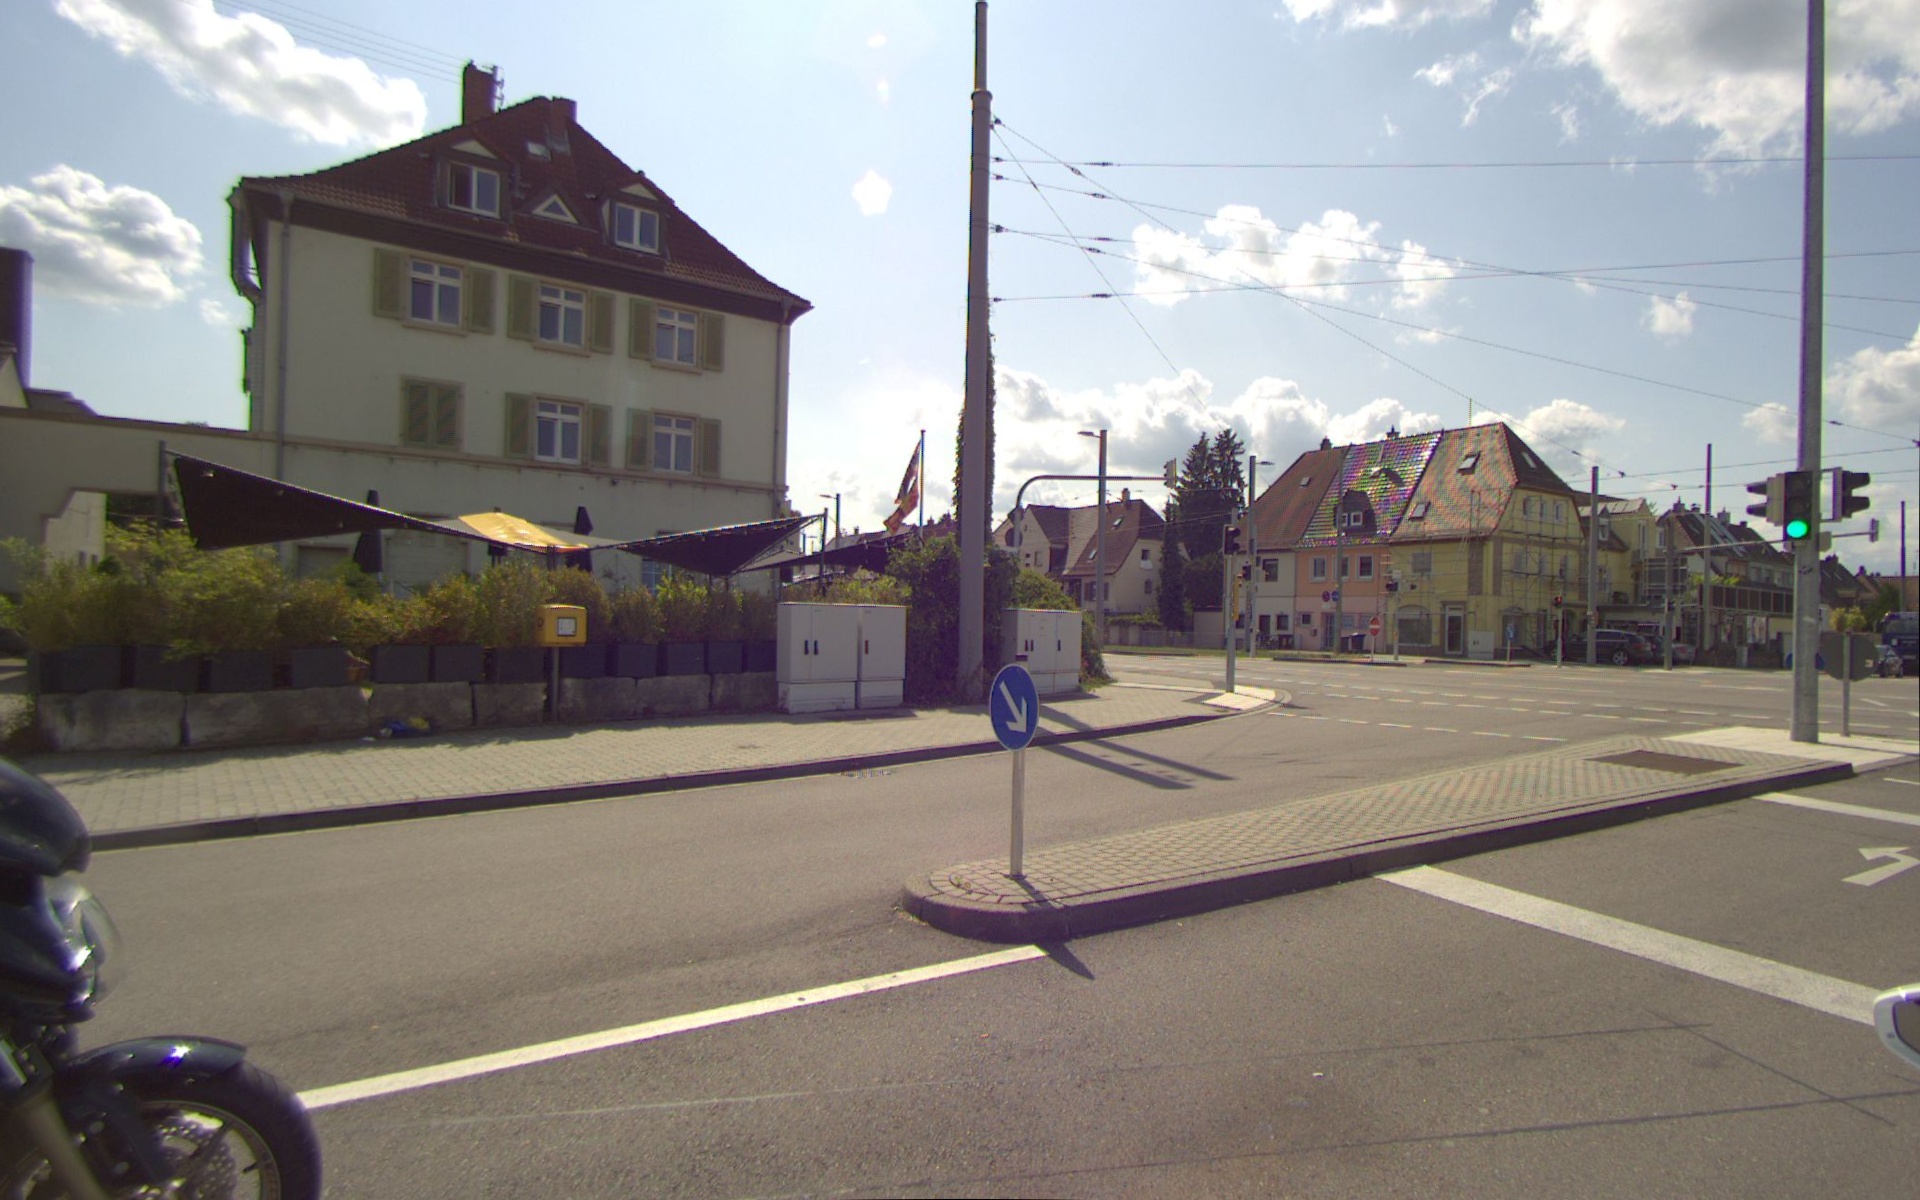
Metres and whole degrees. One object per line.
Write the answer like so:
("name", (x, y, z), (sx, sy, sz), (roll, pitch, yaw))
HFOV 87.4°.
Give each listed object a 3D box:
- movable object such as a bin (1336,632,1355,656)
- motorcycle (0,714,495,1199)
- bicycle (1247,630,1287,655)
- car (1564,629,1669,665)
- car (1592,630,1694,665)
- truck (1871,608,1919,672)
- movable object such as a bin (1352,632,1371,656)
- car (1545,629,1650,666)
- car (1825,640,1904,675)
("movable object such as a bin", (20.898, 2.385, 54.468), (0.674, 1.277, 0.677), (2, 0, -33))
("motorcycle", (-2.065, 0.840, 1.498), (2.343, 1.142, 0.833), (2, -1, -44))
("bicycle", (18.057, 2.506, 59.085), (2.428, 1.374, 0.770), (2, 0, -29))
("car", (32.803, 2.324, 50.298), (1.493, 1.513, 4.103), (2, 0, -37))
("car", (35.092, 2.437, 51.691), (1.422, 1.513, 4.103), (2, 0, -37))
("truck", (50.848, 2.152, 53.149), (7.516, 3.230, 2.747), (3, -2, -38))
("movable object such as a bin", (22.024, 2.423, 55.155), (0.674, 1.277, 0.677), (2, 0, -33))
("car", (30.744, 2.256, 48.559), (1.168, 1.513, 4.103), (2, 0, -37))
("car", (41.586, 2.641, 46.180), (4.291, 1.506, 1.816), (3, -2, -35))
